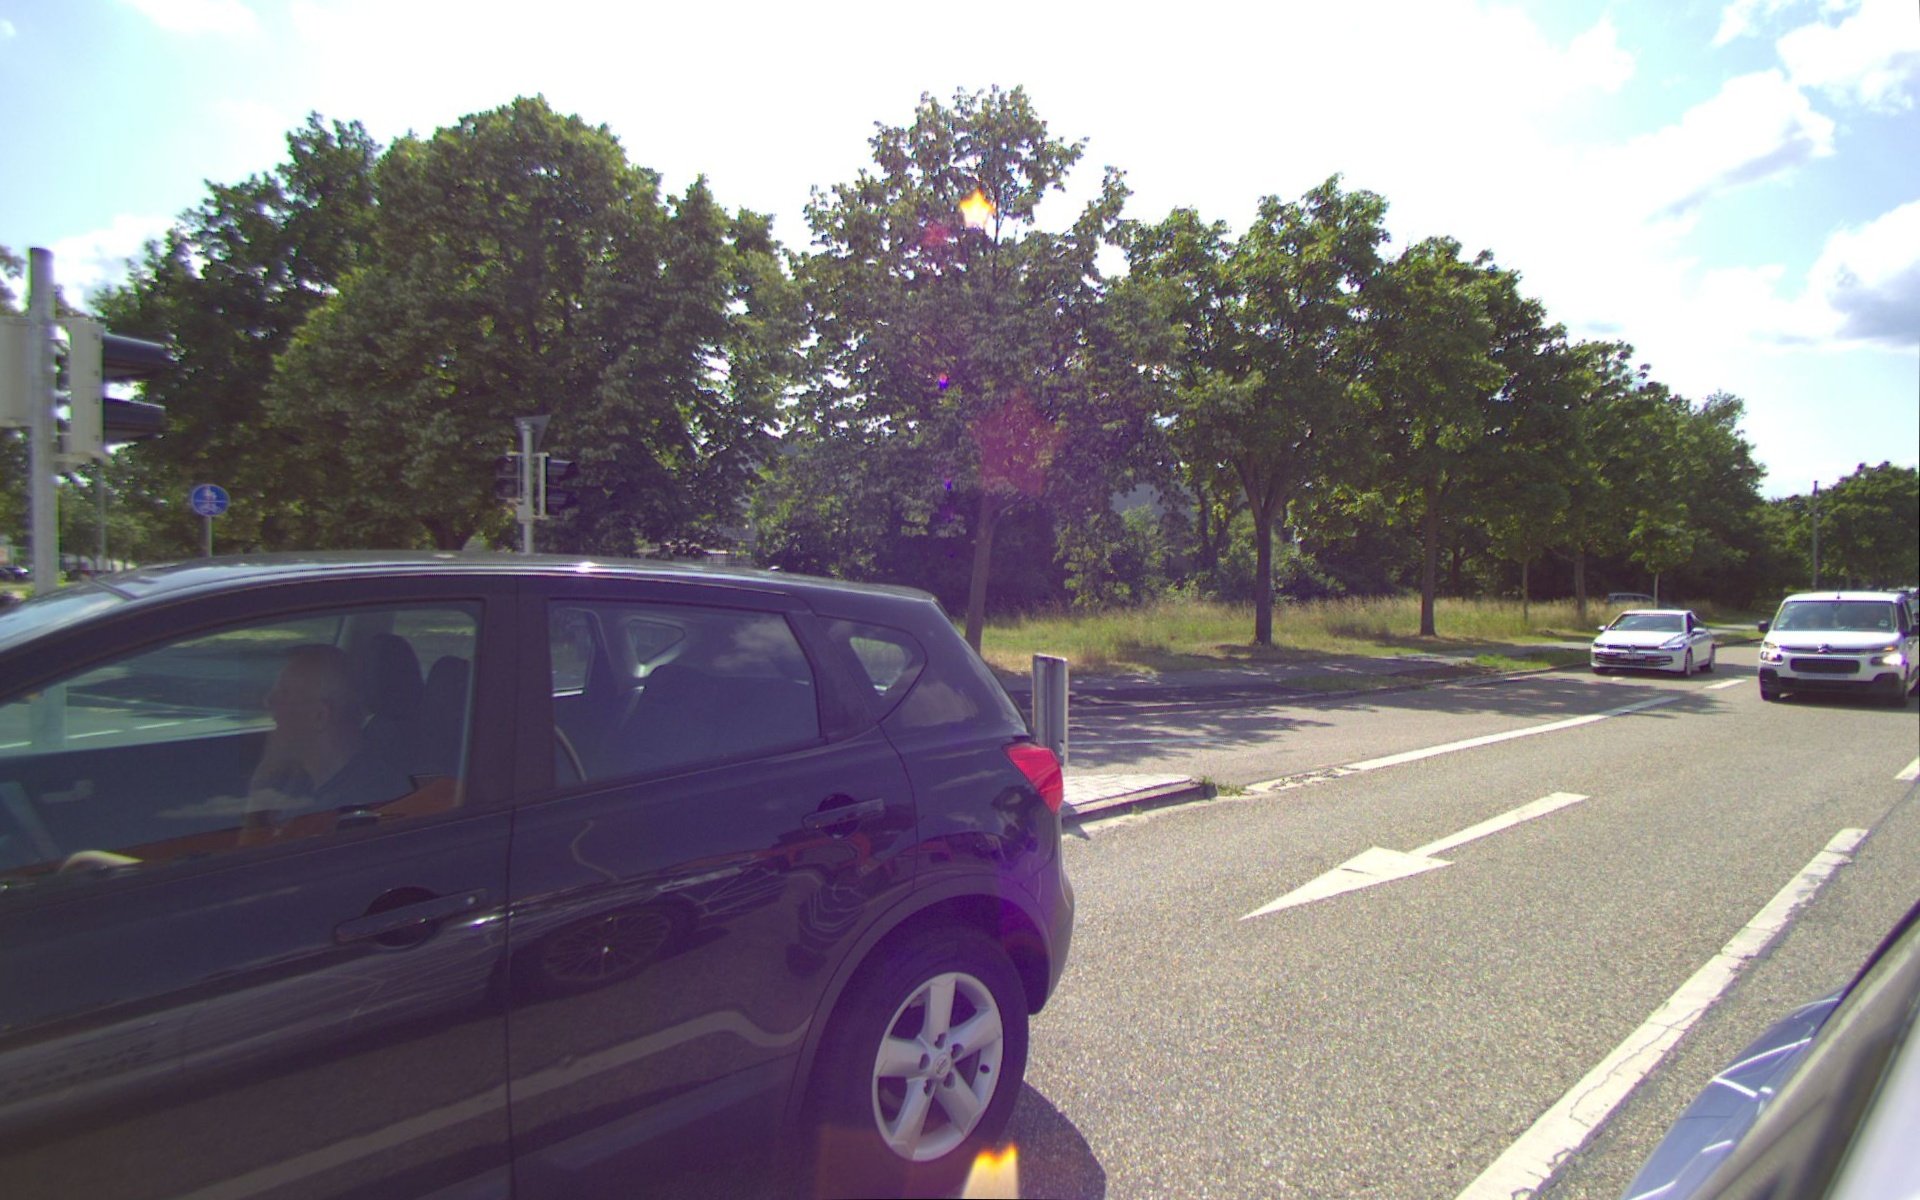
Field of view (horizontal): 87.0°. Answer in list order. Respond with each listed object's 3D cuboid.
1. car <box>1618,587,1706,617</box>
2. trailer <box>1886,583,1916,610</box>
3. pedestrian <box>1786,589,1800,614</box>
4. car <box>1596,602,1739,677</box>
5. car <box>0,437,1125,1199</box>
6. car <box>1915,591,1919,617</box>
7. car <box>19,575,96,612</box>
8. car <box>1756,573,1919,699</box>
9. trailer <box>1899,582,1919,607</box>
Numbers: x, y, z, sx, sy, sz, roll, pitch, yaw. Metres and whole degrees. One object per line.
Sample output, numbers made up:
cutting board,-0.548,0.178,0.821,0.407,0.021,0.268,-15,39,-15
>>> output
car,42.414,0.119,61.179,4.162,1.511,1.757,5,2,42
trailer,87.942,-0.338,94.565,1.953,2.380,4.533,2,2,44
pedestrian,61.766,0.118,75.032,0.728,1.817,0.717,-1,-1,-45
car,15.791,0.797,22.510,4.021,1.505,1.735,0,0,-42
car,-1.600,0.586,2.176,3.933,1.572,1.801,-1,0,-43
car,59.301,0.210,61.225,3.930,1.509,1.757,-1,0,-41
car,-32.384,-0.231,36.287,1.884,1.193,3.768,-1,0,-44
car,14.876,0.536,16.808,4.637,1.808,1.932,0,-1,-44
trailer,102.605,-0.605,108.867,4.704,2.393,1.996,-1,6,-45
